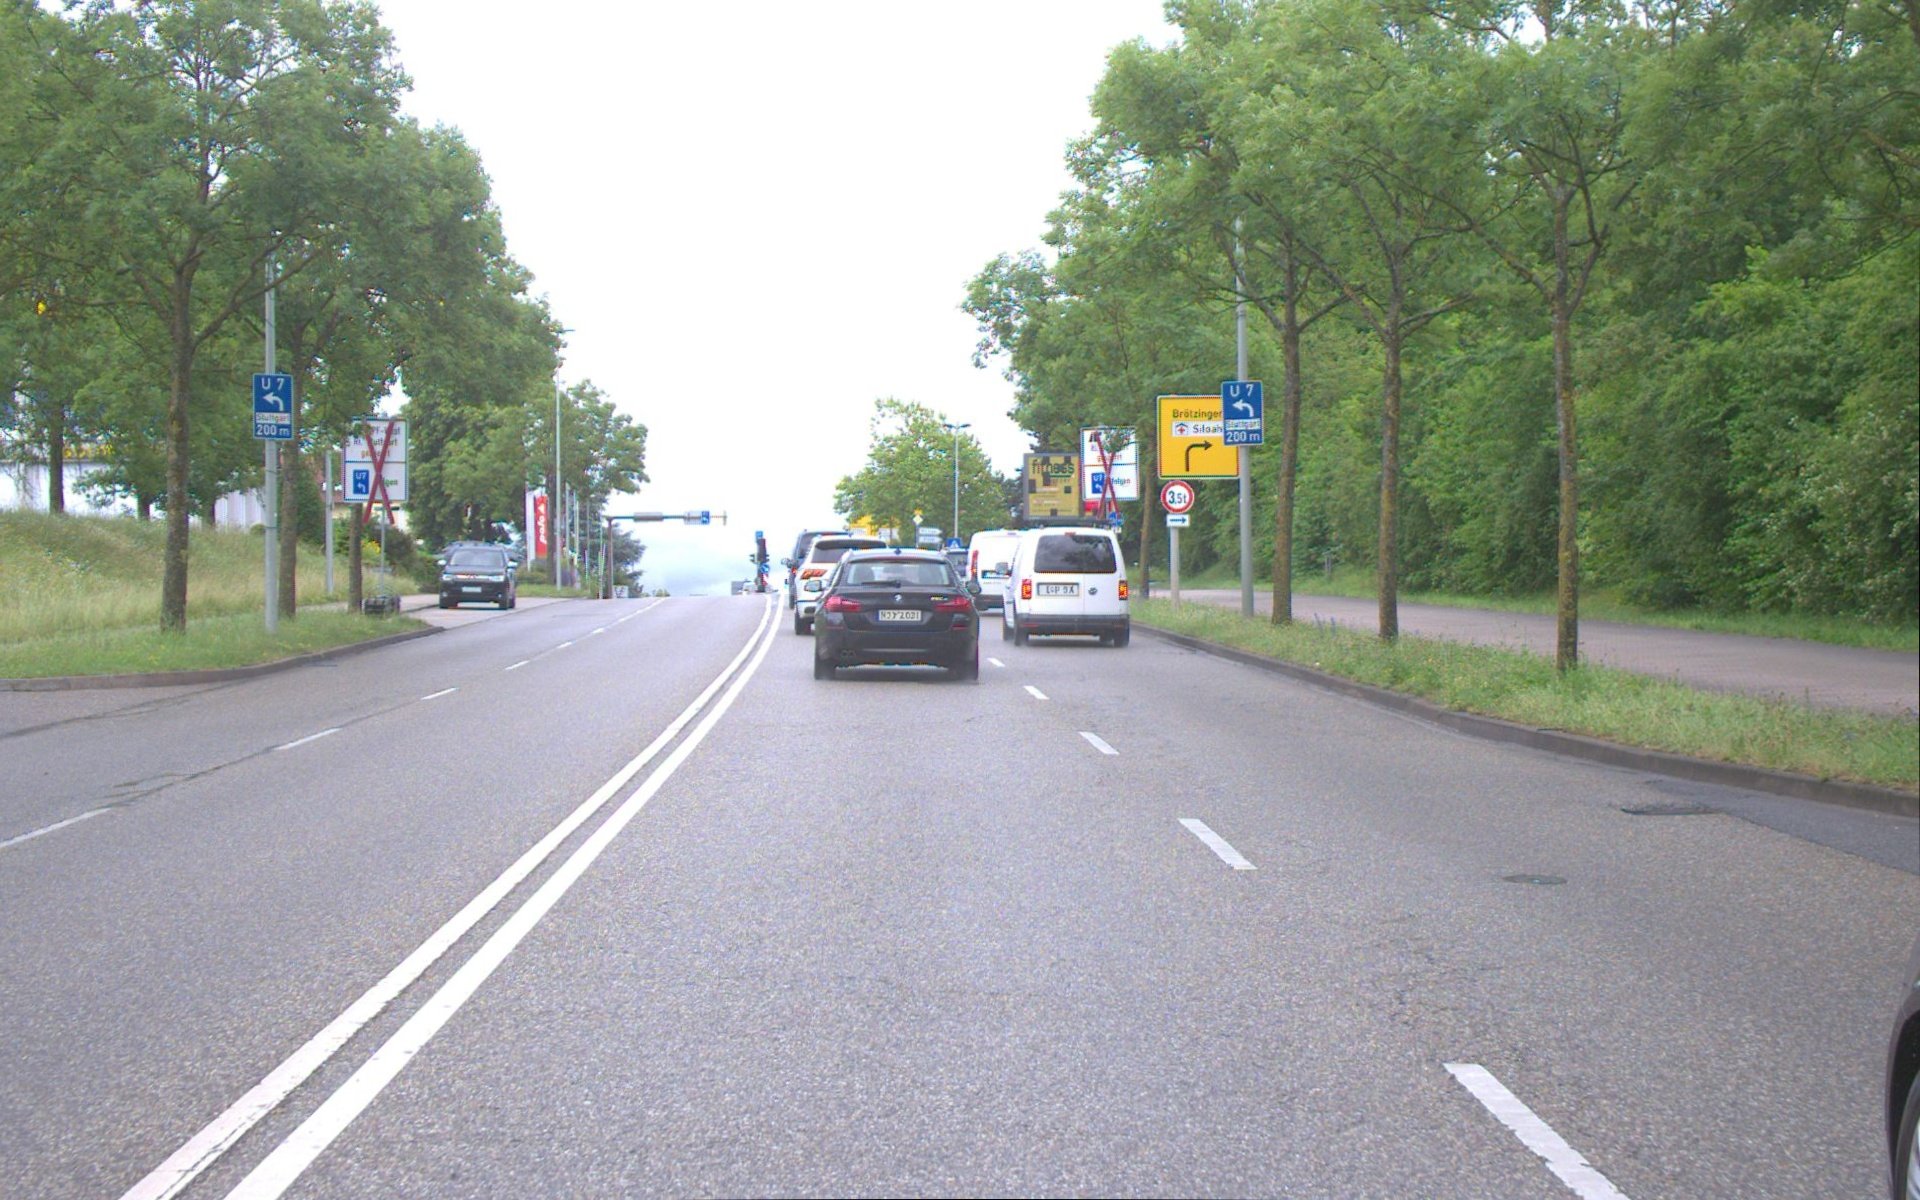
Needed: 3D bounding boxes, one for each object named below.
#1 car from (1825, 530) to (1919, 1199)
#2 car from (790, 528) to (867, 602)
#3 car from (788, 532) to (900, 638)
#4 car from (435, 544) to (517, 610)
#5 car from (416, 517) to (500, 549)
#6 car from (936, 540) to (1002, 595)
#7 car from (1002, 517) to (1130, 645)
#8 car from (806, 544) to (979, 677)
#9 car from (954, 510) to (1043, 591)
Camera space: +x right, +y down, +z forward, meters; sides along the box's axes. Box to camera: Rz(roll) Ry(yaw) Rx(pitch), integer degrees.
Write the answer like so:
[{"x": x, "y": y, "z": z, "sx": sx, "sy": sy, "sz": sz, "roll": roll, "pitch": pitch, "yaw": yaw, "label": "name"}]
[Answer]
[{"x": 2.651, "y": 0.690, "z": 4.805, "sx": 1.714, "sy": 1.591, "sz": 4.131, "roll": 1, "pitch": 0, "yaw": -2, "label": "car"}, {"x": -3.107, "y": -0.841, "z": 81.675, "sx": 1.758, "sy": 1.702, "sz": 3.946, "roll": 0, "pitch": 1, "yaw": -1, "label": "car"}, {"x": -1.930, "y": -0.266, "z": 57.889, "sx": 1.728, "sy": 1.705, "sz": 3.382, "roll": 1, "pitch": 1, "yaw": 0, "label": "car"}, {"x": -12.825, "y": -0.618, "z": 91.337, "sx": 1.726, "sy": 1.662, "sz": 4.488, "roll": 1, "pitch": 1, "yaw": -3, "label": "car"}, {"x": -23.607, "y": -3.147, "z": 161.647, "sx": 3.825, "sy": 1.477, "sz": 1.742, "roll": 0, "pitch": 0, "yaw": -10, "label": "car"}, {"x": 0.219, "y": -0.850, "z": 89.451, "sx": 1.600, "sy": 1.367, "sz": 3.680, "roll": -1, "pitch": 1, "yaw": -1, "label": "car"}, {"x": 1.604, "y": -0.308, "z": 53.077, "sx": 1.741, "sy": 1.863, "sz": 3.946, "roll": 1, "pitch": 1, "yaw": -1, "label": "car"}, {"x": -0.755, "y": 0.089, "z": 39.366, "sx": 1.855, "sy": 1.414, "sz": 3.957, "roll": 1, "pitch": 1, "yaw": -1, "label": "car"}, {"x": 0.808, "y": -1.069, "z": 74.441, "sx": 1.814, "sy": 1.702, "sz": 3.946, "roll": 0, "pitch": 1, "yaw": -1, "label": "car"}]
